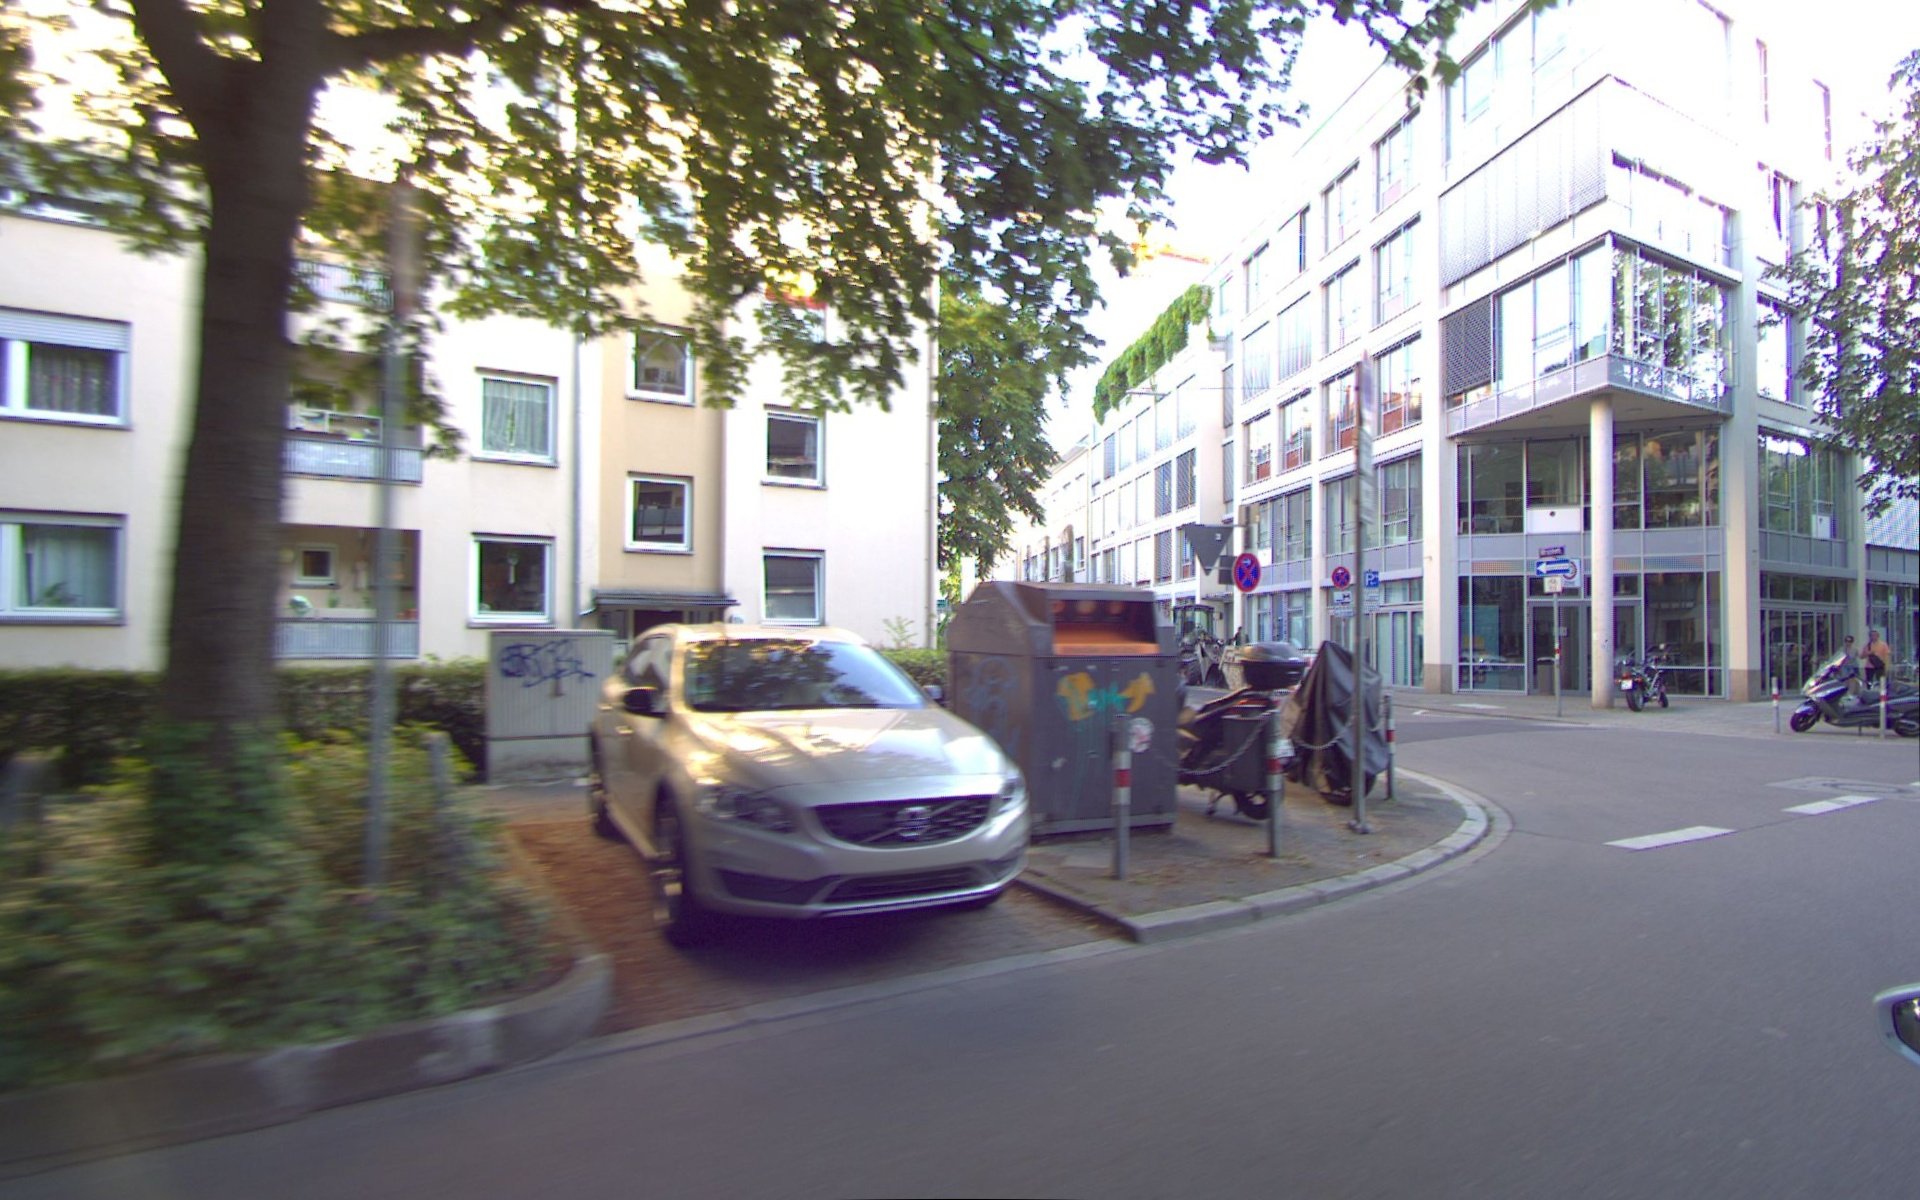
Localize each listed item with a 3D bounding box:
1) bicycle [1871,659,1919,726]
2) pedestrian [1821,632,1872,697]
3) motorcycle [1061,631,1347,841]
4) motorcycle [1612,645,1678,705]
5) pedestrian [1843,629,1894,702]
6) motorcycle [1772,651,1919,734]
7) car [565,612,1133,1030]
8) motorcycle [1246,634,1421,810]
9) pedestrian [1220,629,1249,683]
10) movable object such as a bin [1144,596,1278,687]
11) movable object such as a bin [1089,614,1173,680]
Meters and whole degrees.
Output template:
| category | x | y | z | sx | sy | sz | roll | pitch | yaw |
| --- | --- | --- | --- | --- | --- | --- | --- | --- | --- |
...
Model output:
| category | x | y | z | sx | sy | sz | roll | pitch | yaw |
| --- | --- | --- | --- | --- | --- | --- | --- | --- | --- |
| bicycle | 18.123 | 1.728 | 19.038 | 1.957 | 1.168 | 0.680 | 1 | -2 | -30 |
| pedestrian | 21.625 | 1.568 | 24.500 | 0.635 | 1.556 | 0.766 | 1 | -2 | -30 |
| motorcycle | 1.882 | 0.983 | 8.245 | 0.899 | 1.439 | 2.443 | 1 | -2 | -28 |
| motorcycle | 14.542 | 1.553 | 21.300 | 2.289 | 1.187 | 0.551 | 1 | -2 | -40 |
| pedestrian | 21.669 | 1.542 | 23.957 | 0.599 | 1.712 | 0.736 | 1 | -2 | -29 |
| motorcycle | 15.276 | 1.531 | 16.857 | 2.310 | 1.298 | 1.068 | -1 | -2 | 20 |
| car | -1.137 | 0.897 | 6.325 | 2.049 | 1.573 | 4.602 | 1 | -2 | -27 |
| motorcycle | 3.414 | 1.049 | 9.442 | 0.835 | 1.439 | 2.255 | 1 | -2 | 1 |
| pedestrian | 9.683 | 1.951 | 35.472 | 0.872 | 1.875 | 0.876 | 0 | -1 | 7 |
| movable object such as a bin | 8.085 | 1.332 | 33.047 | 2.243 | 2.728 | 5.640 | 0 | -2 | -9 |
| movable object such as a bin | 6.987 | 1.903 | 41.560 | 2.243 | 2.573 | 4.092 | 0 | -2 | -9 |
